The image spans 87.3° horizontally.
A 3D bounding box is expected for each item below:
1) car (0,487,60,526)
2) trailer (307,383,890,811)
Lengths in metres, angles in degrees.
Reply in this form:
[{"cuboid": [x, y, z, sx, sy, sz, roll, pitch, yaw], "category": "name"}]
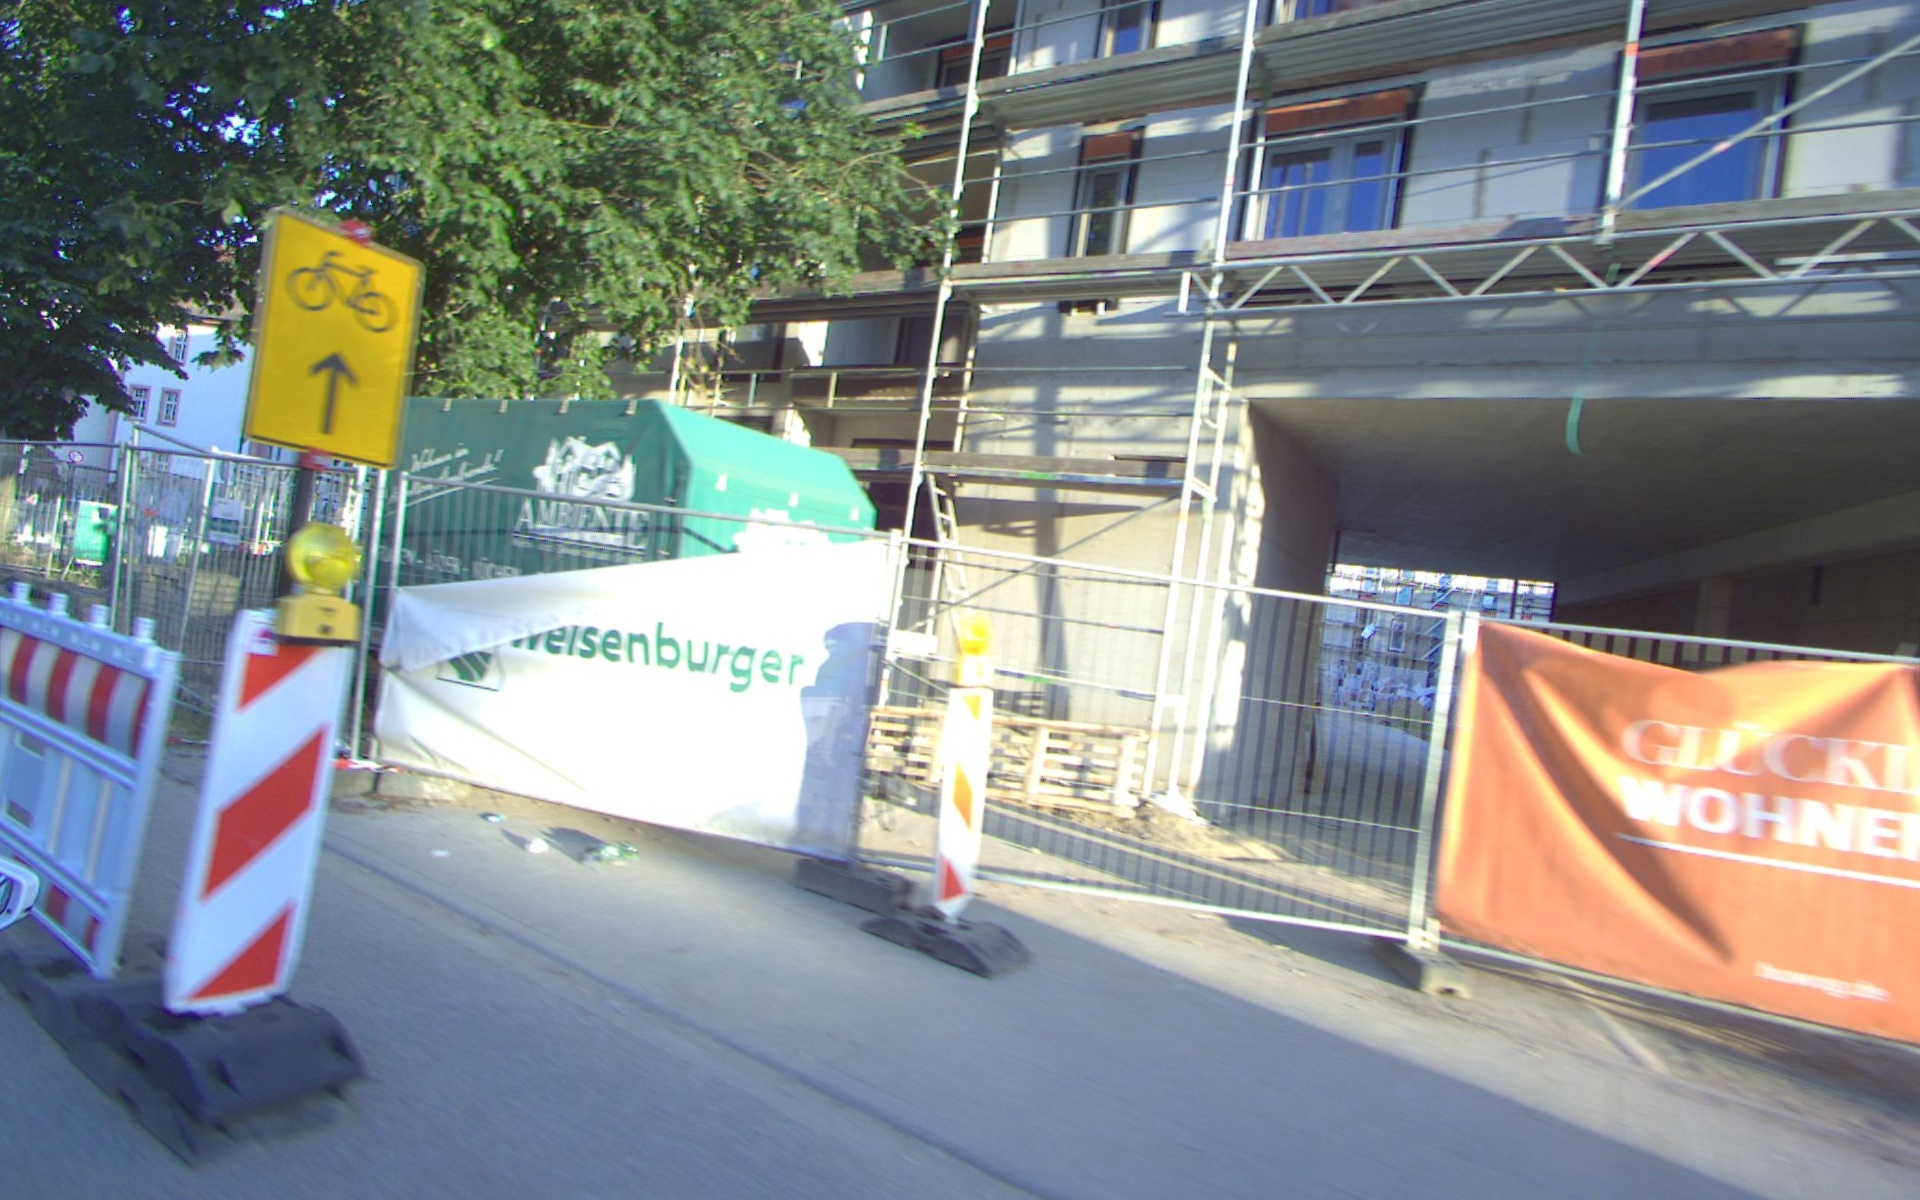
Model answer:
[{"cuboid": [-49.115, -4.949, 51.490, 1.962, 1.590, 4.005, 8, -2, 12], "category": "car"}, {"cuboid": [-2.943, -0.138, 7.949, 4.118, 2.569, 1.997, 8, -1, 34], "category": "trailer"}]
